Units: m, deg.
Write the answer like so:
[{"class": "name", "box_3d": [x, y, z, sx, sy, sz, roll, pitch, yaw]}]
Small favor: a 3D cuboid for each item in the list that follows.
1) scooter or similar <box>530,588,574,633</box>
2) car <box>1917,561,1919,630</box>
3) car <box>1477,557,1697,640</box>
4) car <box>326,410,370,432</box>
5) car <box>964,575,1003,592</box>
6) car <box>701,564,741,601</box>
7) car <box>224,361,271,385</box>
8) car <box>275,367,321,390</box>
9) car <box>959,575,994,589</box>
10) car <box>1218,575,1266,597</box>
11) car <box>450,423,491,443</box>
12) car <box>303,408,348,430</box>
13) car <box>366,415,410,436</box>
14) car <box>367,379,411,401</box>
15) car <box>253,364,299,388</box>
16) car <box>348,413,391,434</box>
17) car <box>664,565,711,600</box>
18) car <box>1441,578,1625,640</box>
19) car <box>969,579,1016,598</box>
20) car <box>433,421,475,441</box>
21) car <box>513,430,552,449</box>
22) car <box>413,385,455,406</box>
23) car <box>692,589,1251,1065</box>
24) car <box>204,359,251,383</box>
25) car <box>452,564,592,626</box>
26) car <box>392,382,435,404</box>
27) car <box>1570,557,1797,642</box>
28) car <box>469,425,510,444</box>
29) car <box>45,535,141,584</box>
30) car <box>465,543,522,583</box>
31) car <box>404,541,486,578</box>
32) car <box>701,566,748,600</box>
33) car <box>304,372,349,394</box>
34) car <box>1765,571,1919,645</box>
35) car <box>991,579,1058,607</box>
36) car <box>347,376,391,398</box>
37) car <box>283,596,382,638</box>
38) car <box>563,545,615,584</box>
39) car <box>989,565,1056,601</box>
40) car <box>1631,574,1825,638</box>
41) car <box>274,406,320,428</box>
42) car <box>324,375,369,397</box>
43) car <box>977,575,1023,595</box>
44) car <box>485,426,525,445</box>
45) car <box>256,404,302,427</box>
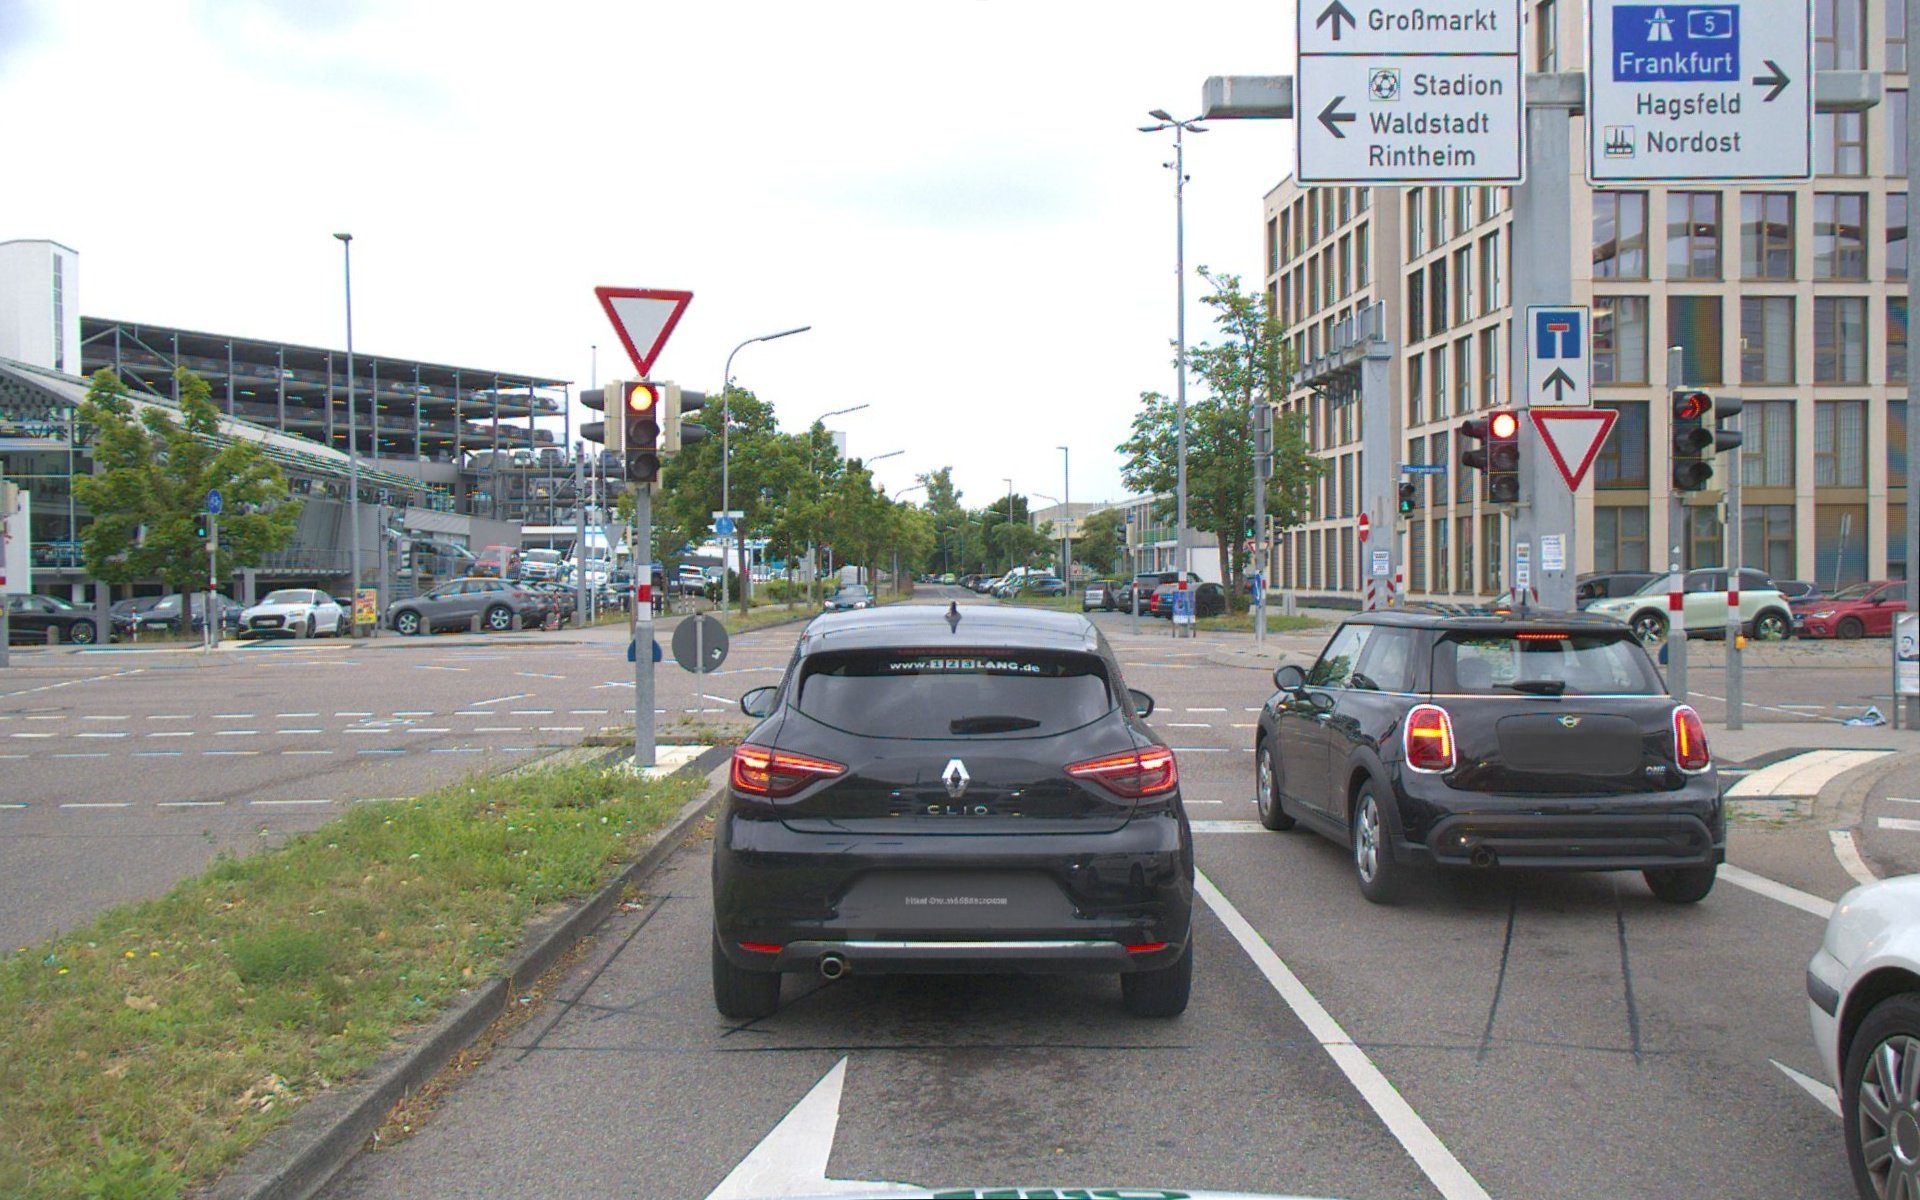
[{"class": "scooter or similar", "box_3d": [-11.857, 0.291, 48.118, 0.545, 1.240, 1.561, 2, 1, 13]}, {"class": "car", "box_3d": [27.227, -0.085, 42.583, 4.055, 1.800, 1.998, 1, 0, -5]}, {"class": "car", "box_3d": [14.430, -0.027, 38.192, 4.321, 1.800, 1.998, 1, 0, -5]}, {"class": "car", "box_3d": [-58.351, -17.067, 157.682, 3.914, 1.696, 1.996, 1, 1, 31]}, {"class": "car", "box_3d": [3.064, -2.200, 219.119, 5.069, 2.049, 2.143, 1, 0, -2]}, {"class": "car", "box_3d": [-13.707, -0.978, 94.863, 1.954, 2.049, 3.996, 1, 0, -4]}, {"class": "car", "box_3d": [-64.010, -20.399, 148.670, 3.914, 1.696, 1.996, 1, 1, 31]}, {"class": "car", "box_3d": [-61.221, -20.437, 152.976, 3.914, 1.696, 1.996, 1, 1, 31]}, {"class": "car", "box_3d": [2.265, -2.482, 229.923, 4.690, 1.924, 2.142, 1, 0, -3]}, {"class": "car", "box_3d": [18.971, -0.941, 111.235, 3.161, 1.356, 1.487, 1, 0, 10]}, {"class": "car", "box_3d": [-50.654, -17.294, 171.136, 3.914, 1.696, 1.996, 1, 1, 31]}, {"class": "car", "box_3d": [-59.646, -17.031, 155.536, 3.914, 1.696, 1.996, 1, 1, 31]}, {"class": "car", "box_3d": [-55.955, -17.091, 161.766, 3.914, 1.696, 1.996, 1, 1, 31]}, {"class": "car", "box_3d": [-55.891, -20.511, 161.835, 3.914, 1.696, 1.996, 1, 1, 31]}, {"class": "car", "box_3d": [-62.458, -20.466, 151.089, 3.914, 1.696, 1.996, 1, 1, 31]}, {"class": "car", "box_3d": [-57.090, -17.092, 159.896, 3.914, 1.696, 1.996, 1, 1, 31]}, {"class": "car", "box_3d": [-13.654, -0.861, 83.058, 1.954, 1.646, 3.996, 1, 0, -4]}, {"class": "car", "box_3d": [14.334, 0.230, 41.474, 4.005, 1.457, 1.749, 1, 0, -5]}, {"class": "car", "box_3d": [3.569, -1.261, 182.226, 5.069, 2.049, 2.143, 1, 0, -2]}, {"class": "car", "box_3d": [-51.751, -17.237, 169.158, 3.914, 1.696, 1.996, 1, 1, 31]}, {"class": "car", "box_3d": [-46.285, -17.363, 179.034, 3.914, 1.696, 1.996, 1, 1, 31]}, {"class": "car", "box_3d": [-53.070, -20.620, 166.842, 3.914, 1.696, 1.996, 1, 1, 31]}, {"class": "car", "box_3d": [0.011, 0.718, 7.159, 1.721, 1.460, 3.999, 1, 0, -1]}, {"class": "car", "box_3d": [-64.945, -20.270, 146.607, 3.914, 1.696, 1.996, 1, 1, 31]}, {"class": "car", "box_3d": [-16.212, -0.176, 61.419, 4.683, 2.049, 1.997, -2, 0, -7]}, {"class": "car", "box_3d": [-54.386, -20.569, 164.520, 3.914, 1.696, 1.996, 1, 1, 31]}, {"class": "car", "box_3d": [15.224, -0.007, 34.901, 3.977, 1.672, 1.903, 1, 0, -6]}, {"class": "car", "box_3d": [-49.429, -17.403, 173.678, 3.914, 1.696, 1.996, 1, 1, 31]}, {"class": "car", "box_3d": [-32.734, -1.493, 62.552, 1.784, 1.691, 3.995, 1, 0, -5]}, {"class": "car", "box_3d": [-23.431, -1.857, 83.208, 1.954, 1.881, 3.996, 1, 0, -4]}, {"class": "car", "box_3d": [-27.938, -2.175, 89.779, 3.908, 1.870, 1.759, 1, 0, -4]}, {"class": "car", "box_3d": [-11.944, -0.823, 84.217, 1.954, 1.646, 3.998, 1, 0, -3]}, {"class": "car", "box_3d": [-59.594, -20.421, 155.642, 3.914, 1.696, 1.996, 1, 1, 31]}, {"class": "car", "box_3d": [21.264, 0.199, 38.698, 3.908, 1.629, 1.998, 1, 0, -4]}, {"class": "car", "box_3d": [5.004, -0.533, 129.050, 5.070, 2.049, 2.142, 1, 0, -3]}, {"class": "car", "box_3d": [-57.135, -20.549, 159.993, 3.914, 1.696, 1.996, 1, 1, 31]}, {"class": "car", "box_3d": [-29.105, 0.788, 76.787, 3.911, 1.870, 1.757, 1, 0, -7]}, {"class": "car", "box_3d": [-18.610, -1.758, 83.169, 1.954, 1.855, 3.996, 1, 0, -4]}, {"class": "car", "box_3d": [5.734, -1.561, 151.673, 5.993, 3.171, 2.133, 1, 0, -2]}, {"class": "car", "box_3d": [19.358, 0.158, 41.780, 4.055, 1.517, 1.870, 1, 0, -5]}, {"class": "car", "box_3d": [-61.426, -16.952, 153.280, 3.914, 1.696, 1.996, 1, 1, 31]}, {"class": "car", "box_3d": [-58.478, -20.393, 157.671, 3.914, 1.696, 1.996, 1, 1, 31]}, {"class": "car", "box_3d": [4.217, -1.581, 175.634, 4.690, 1.924, 2.142, 1, 0, -3]}, {"class": "car", "box_3d": [-48.364, -17.458, 175.652, 3.914, 1.696, 1.996, 1, 1, 31]}, {"class": "car", "box_3d": [-62.285, -16.838, 151.185, 3.914, 1.696, 1.996, 1, 1, 31]}]
